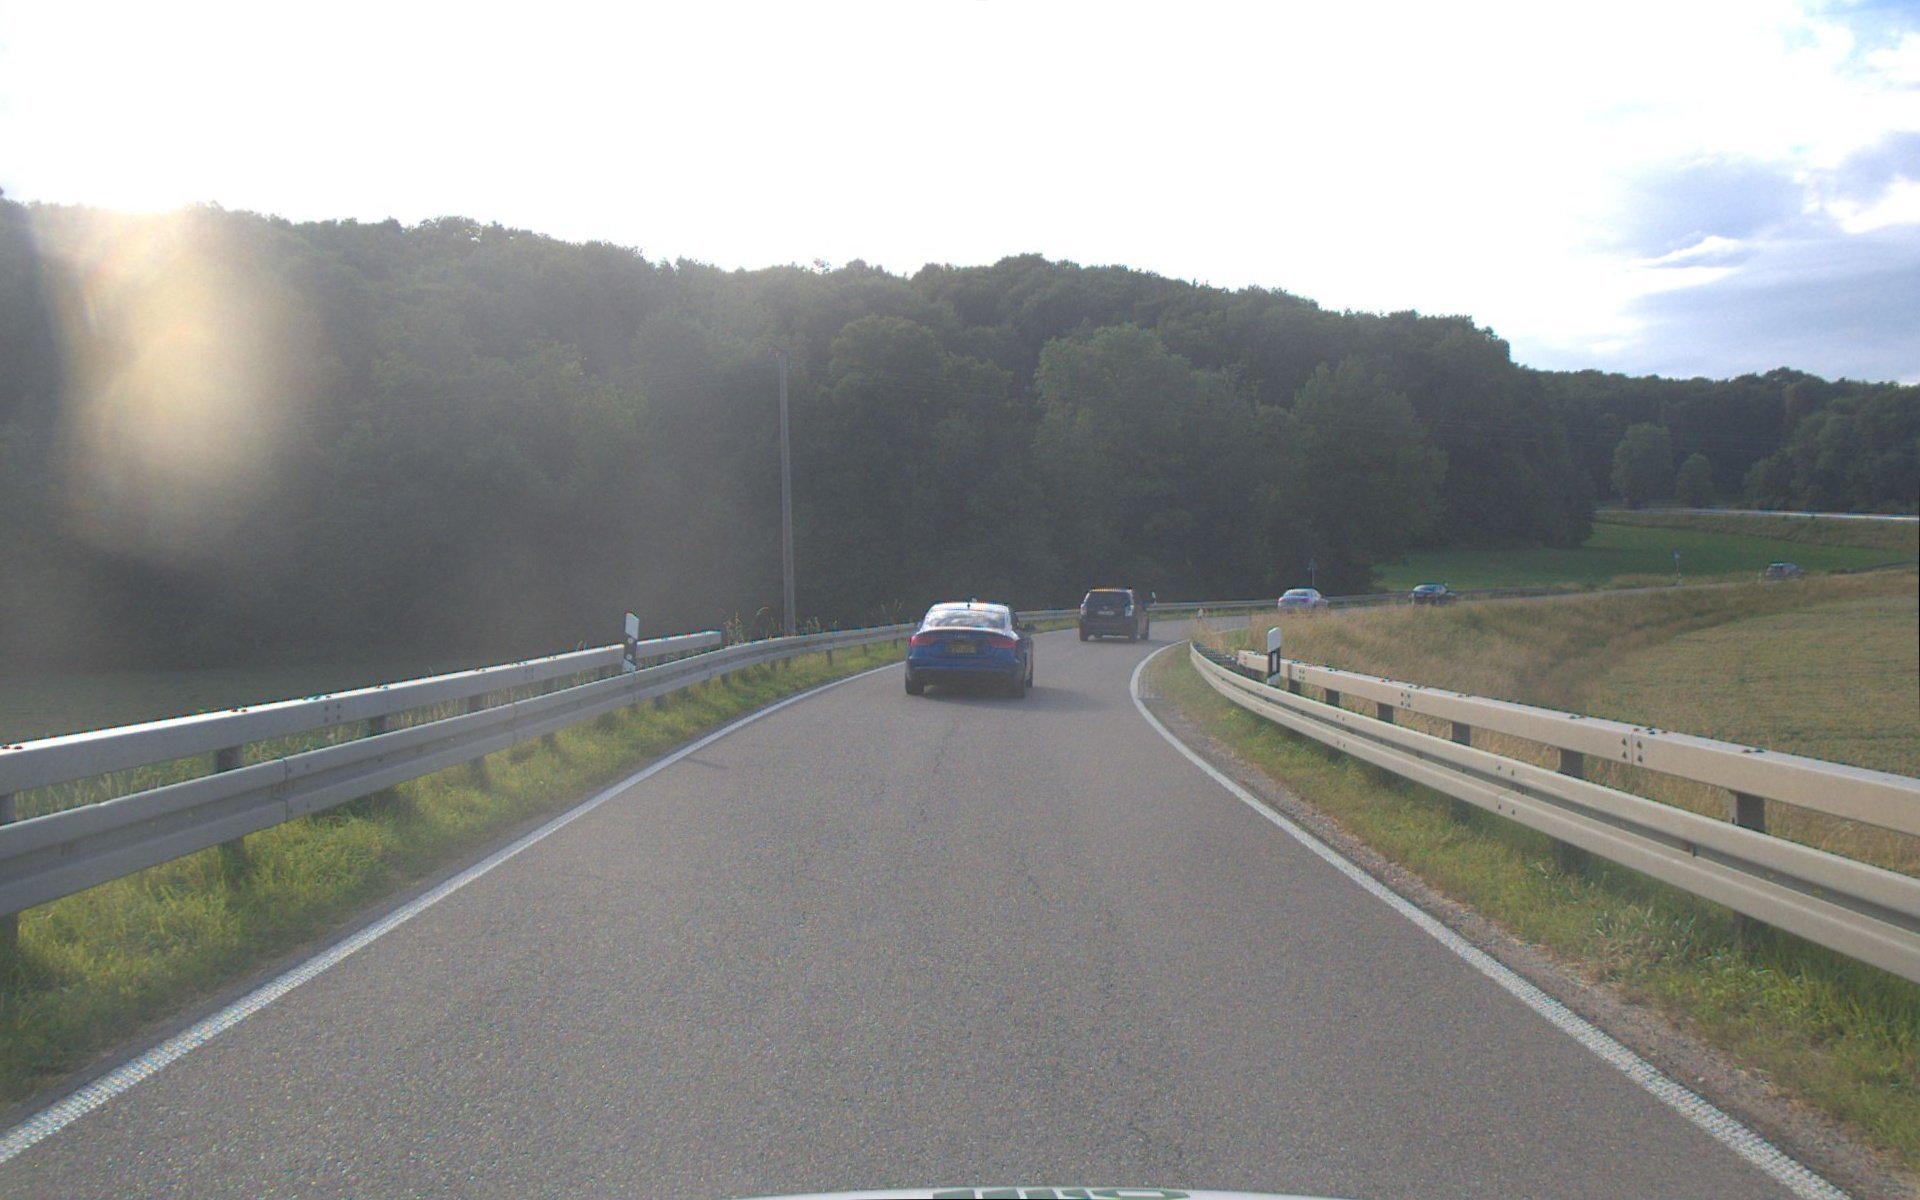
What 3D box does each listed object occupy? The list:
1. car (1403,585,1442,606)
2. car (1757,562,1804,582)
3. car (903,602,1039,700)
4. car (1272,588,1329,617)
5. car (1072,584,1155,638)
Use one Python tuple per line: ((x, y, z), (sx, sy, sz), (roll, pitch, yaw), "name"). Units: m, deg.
((29.386, -0.294, 105.074), (1.445, 1.248, 3.289), (-1, -1, 34), "car")
((73.142, -2.527, 147.459), (4.124, 1.708, 1.978), (-2, 2, -32), "car")
((0.257, 0.727, 25.789), (1.780, 1.362, 4.352), (0, 0, 5), "car")
((17.671, 0.098, 85.731), (1.651, 1.400, 3.992), (-1, 0, 30), "car")
((4.854, 0.315, 51.825), (1.822, 1.596, 4.003), (1, 1, 16), "car")
